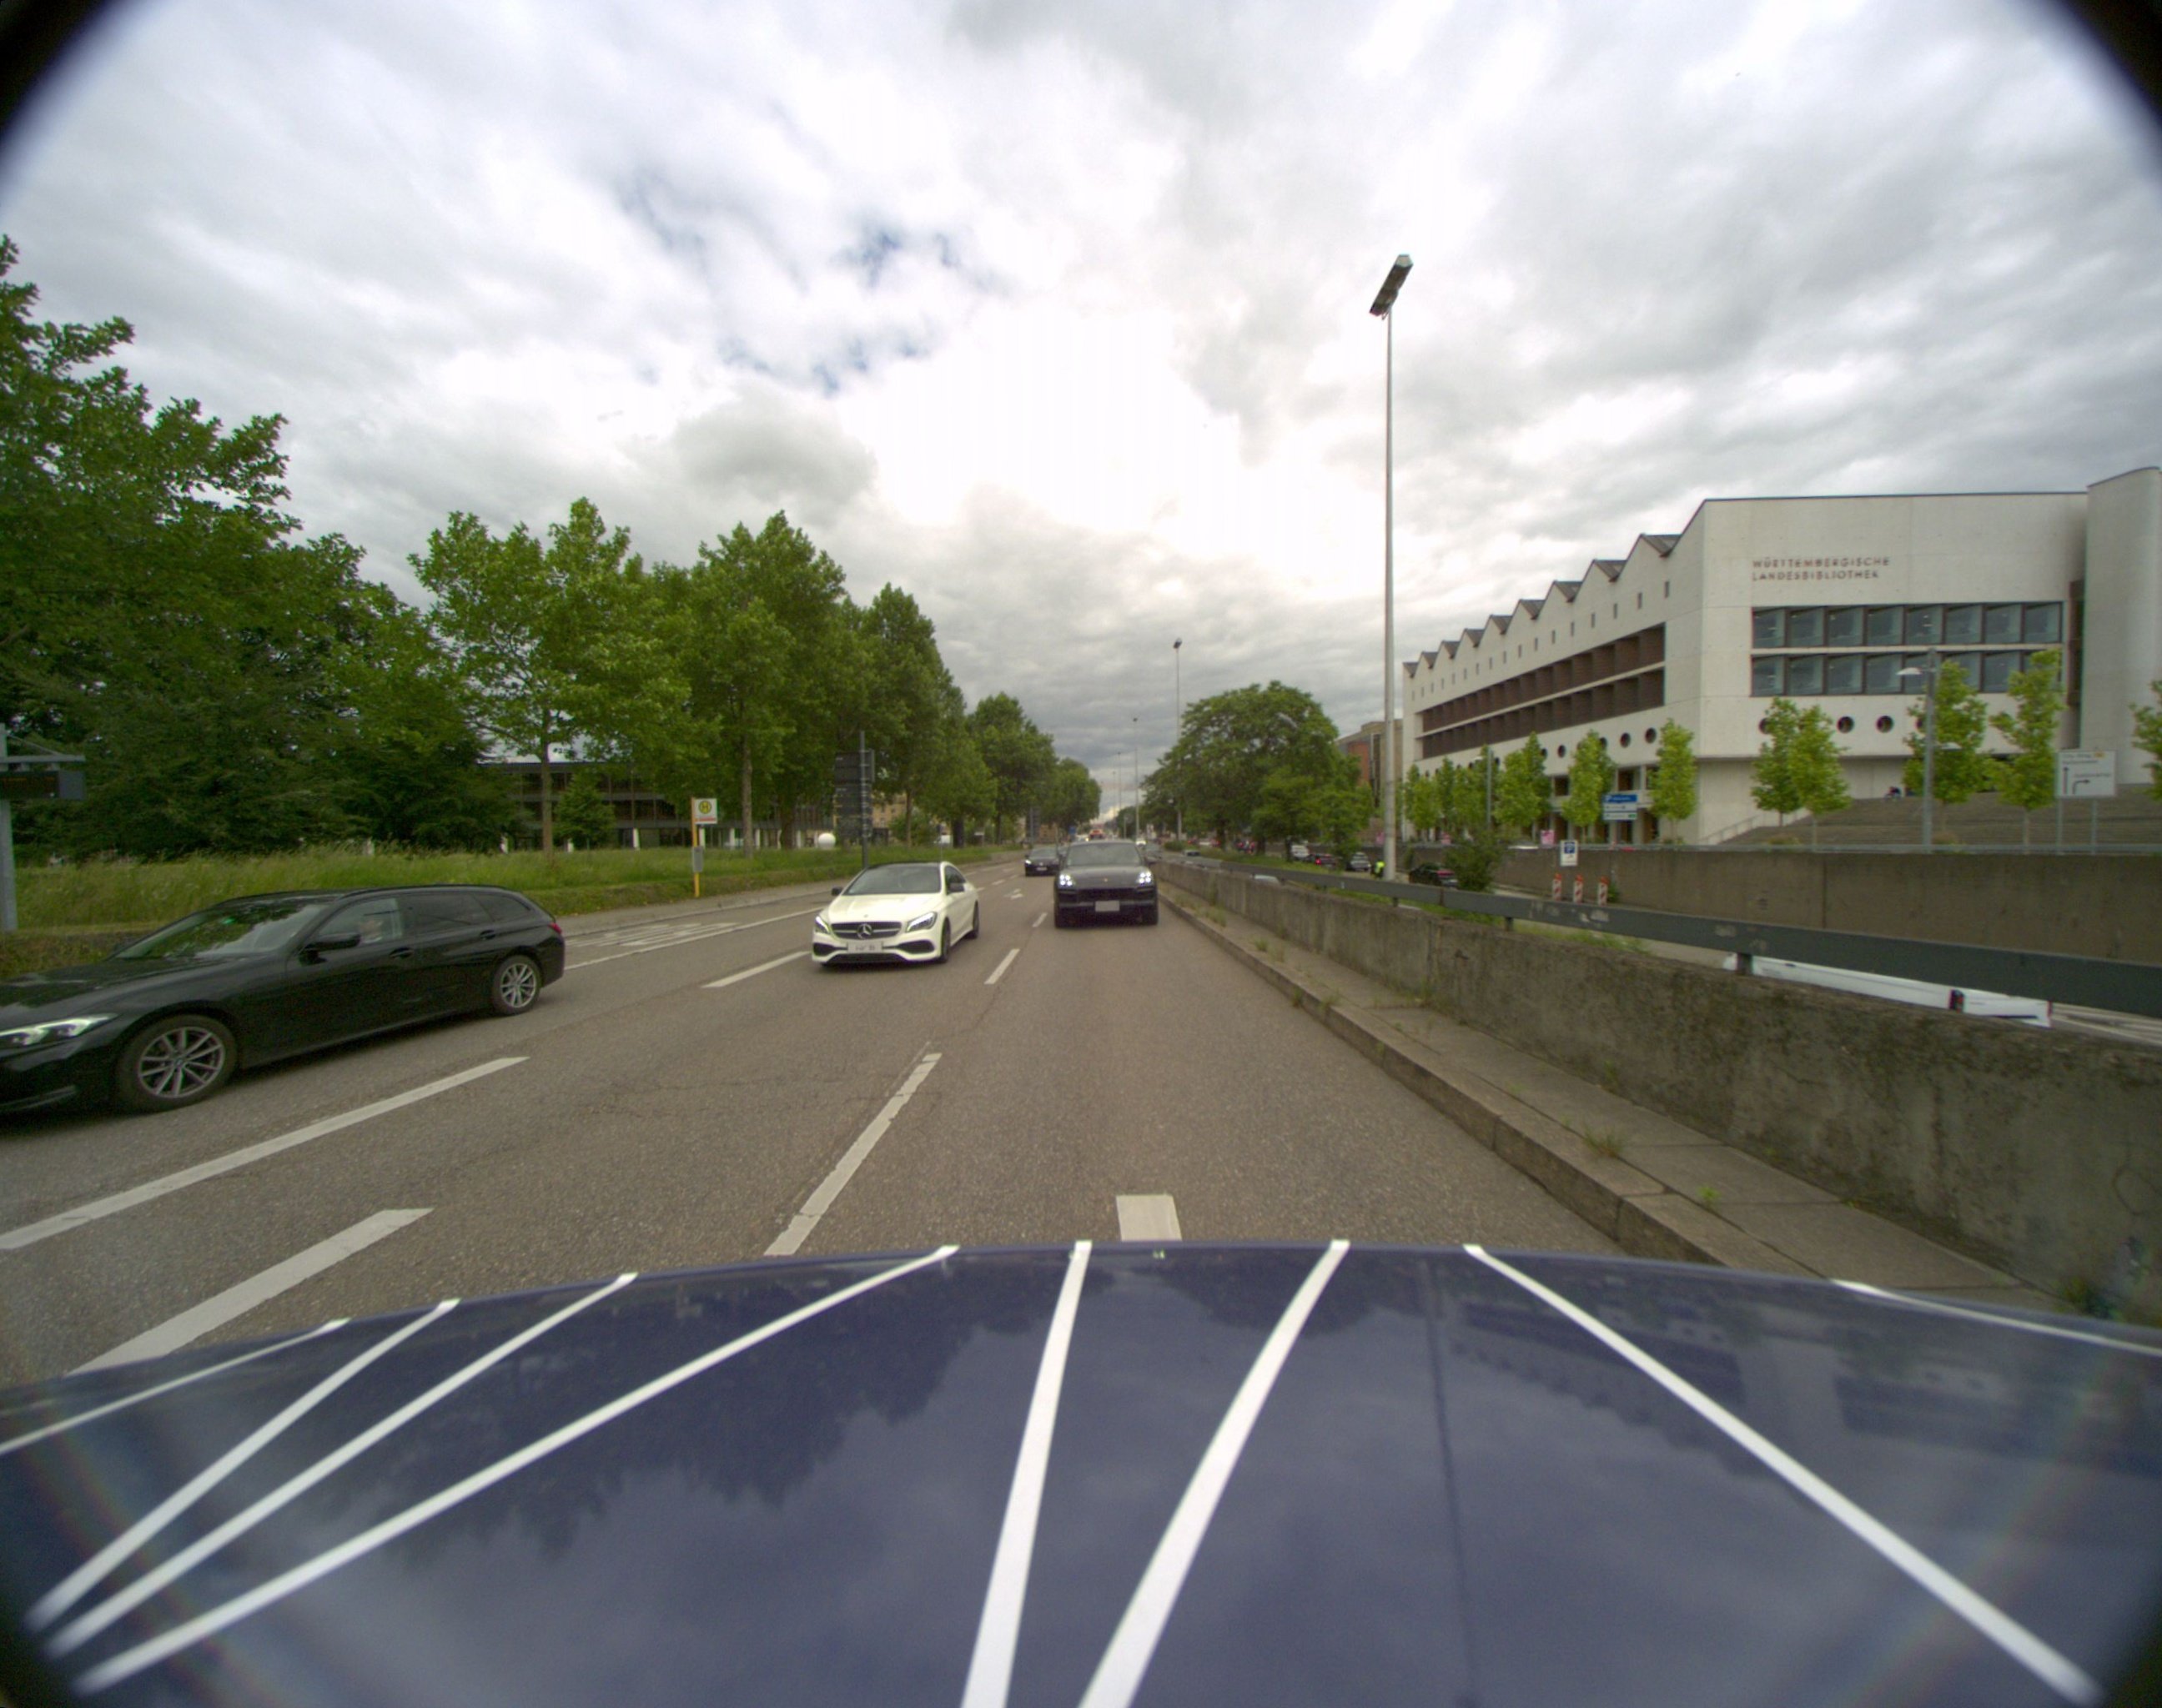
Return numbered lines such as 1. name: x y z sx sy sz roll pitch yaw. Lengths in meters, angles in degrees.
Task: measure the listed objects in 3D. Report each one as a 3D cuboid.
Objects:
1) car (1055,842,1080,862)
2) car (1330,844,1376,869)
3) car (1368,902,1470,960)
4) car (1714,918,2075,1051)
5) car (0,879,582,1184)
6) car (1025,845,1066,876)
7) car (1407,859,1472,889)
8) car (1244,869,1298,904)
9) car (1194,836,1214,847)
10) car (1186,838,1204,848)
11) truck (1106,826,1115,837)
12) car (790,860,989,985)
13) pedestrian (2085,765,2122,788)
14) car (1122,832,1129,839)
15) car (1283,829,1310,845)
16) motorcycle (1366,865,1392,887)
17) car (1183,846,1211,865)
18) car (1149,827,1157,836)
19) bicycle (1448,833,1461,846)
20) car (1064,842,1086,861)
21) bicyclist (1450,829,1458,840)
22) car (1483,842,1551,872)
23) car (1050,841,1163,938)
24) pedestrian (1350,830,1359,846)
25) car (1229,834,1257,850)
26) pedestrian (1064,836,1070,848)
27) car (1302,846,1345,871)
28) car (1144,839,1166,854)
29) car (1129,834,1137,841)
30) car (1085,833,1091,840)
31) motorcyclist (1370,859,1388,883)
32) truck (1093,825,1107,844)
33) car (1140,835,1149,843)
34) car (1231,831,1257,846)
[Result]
1. car: -1.031 -0.192 60.357 1.805 1.426 4.014 -2 1 2
2. car: 20.778 0.134 58.248 1.875 1.604 4.387 0 4 -2
3. car: 11.145 2.496 25.379 1.559 1.406 4.091 -2 1 0
4. car: 17.044 2.607 16.509 1.999 1.630 5.246 4 3 -1
5. car: -6.950 1.134 6.634 1.936 1.451 4.526 -3 2 3
6. car: -1.837 0.292 40.656 1.852 1.481 4.091 -2 1 2
7. car: 20.506 1.119 43.663 1.810 1.321 4.002 0 4 -1
8. car: 9.275 1.536 37.411 1.559 1.406 4.091 -2 1 0
9. car: 16.347 -1.670 101.088 1.998 1.390 3.999 2 1 0
10. car: 16.899 -1.677 112.859 1.998 1.390 3.999 2 1 0
11. truck: 9.277 -7.338 242.854 2.576 3.289 8.078 -3 2 2
12. car: -2.727 0.902 11.988 1.799 1.412 4.526 -2 1 2
13. pedestrian: 53.967 -4.078 40.107 0.723 0.943 0.768 -23 6 -5
14. car: 11.111 -4.619 189.758 1.372 1.390 3.722 -1 -1 -2
15. car: 25.528 -2.023 90.199 1.998 1.753 3.999 1 2 0
16. motorcycle: 17.675 1.266 45.155 0.687 1.092 2.049 2 4 0
17. car: 9.554 0.124 62.954 1.657 1.406 4.091 -2 1 0
18. car: 17.119 -5.345 180.450 1.609 1.844 3.999 -3 2 1
19. bicycle: 37.735 -1.428 76.841 0.403 1.265 1.698 -3 2 -1
20. car: -0.580 -0.269 78.490 2.021 1.823 4.804 -2 1 2
21. bicyclist: 37.703 -1.960 76.814 0.403 1.154 0.643 -3 2 -1
22. car: 27.657 0.141 48.329 1.998 1.753 3.999 1 2 0
23. car: 0.564 0.572 15.430 1.904 1.581 4.732 -2 1 3
24. pedestrian: 35.885 -2.094 99.630 0.722 2.002 1.016 -3 2 2
25. car: 17.079 -1.281 80.425 1.998 1.665 4.516 2 1 0
26. pedestrian: -2.323 -1.957 125.037 0.792 2.002 0.741 -1 0 2
27. car: 17.695 0.307 55.711 1.779 1.481 4.143 0 4 -1
28. car: 7.468 -0.816 77.310 1.787 1.406 4.091 -2 1 0
29. car: 11.158 -3.588 163.278 1.372 1.390 3.721 2 1 0
30. car: 2.180 -5.319 231.606 1.693 2.002 3.999 -3 2 2
31. motorcyclist: 17.691 1.018 45.141 0.671 1.345 0.717 2 4 -1
32. truck: 3.713 -3.802 147.373 2.357 3.518 9.423 -3 2 2
33. car: 11.747 -2.863 141.298 1.372 1.390 3.721 2 1 0
34. car: 19.912 -1.936 92.937 2.161 1.636 4.514 1 3 -1
